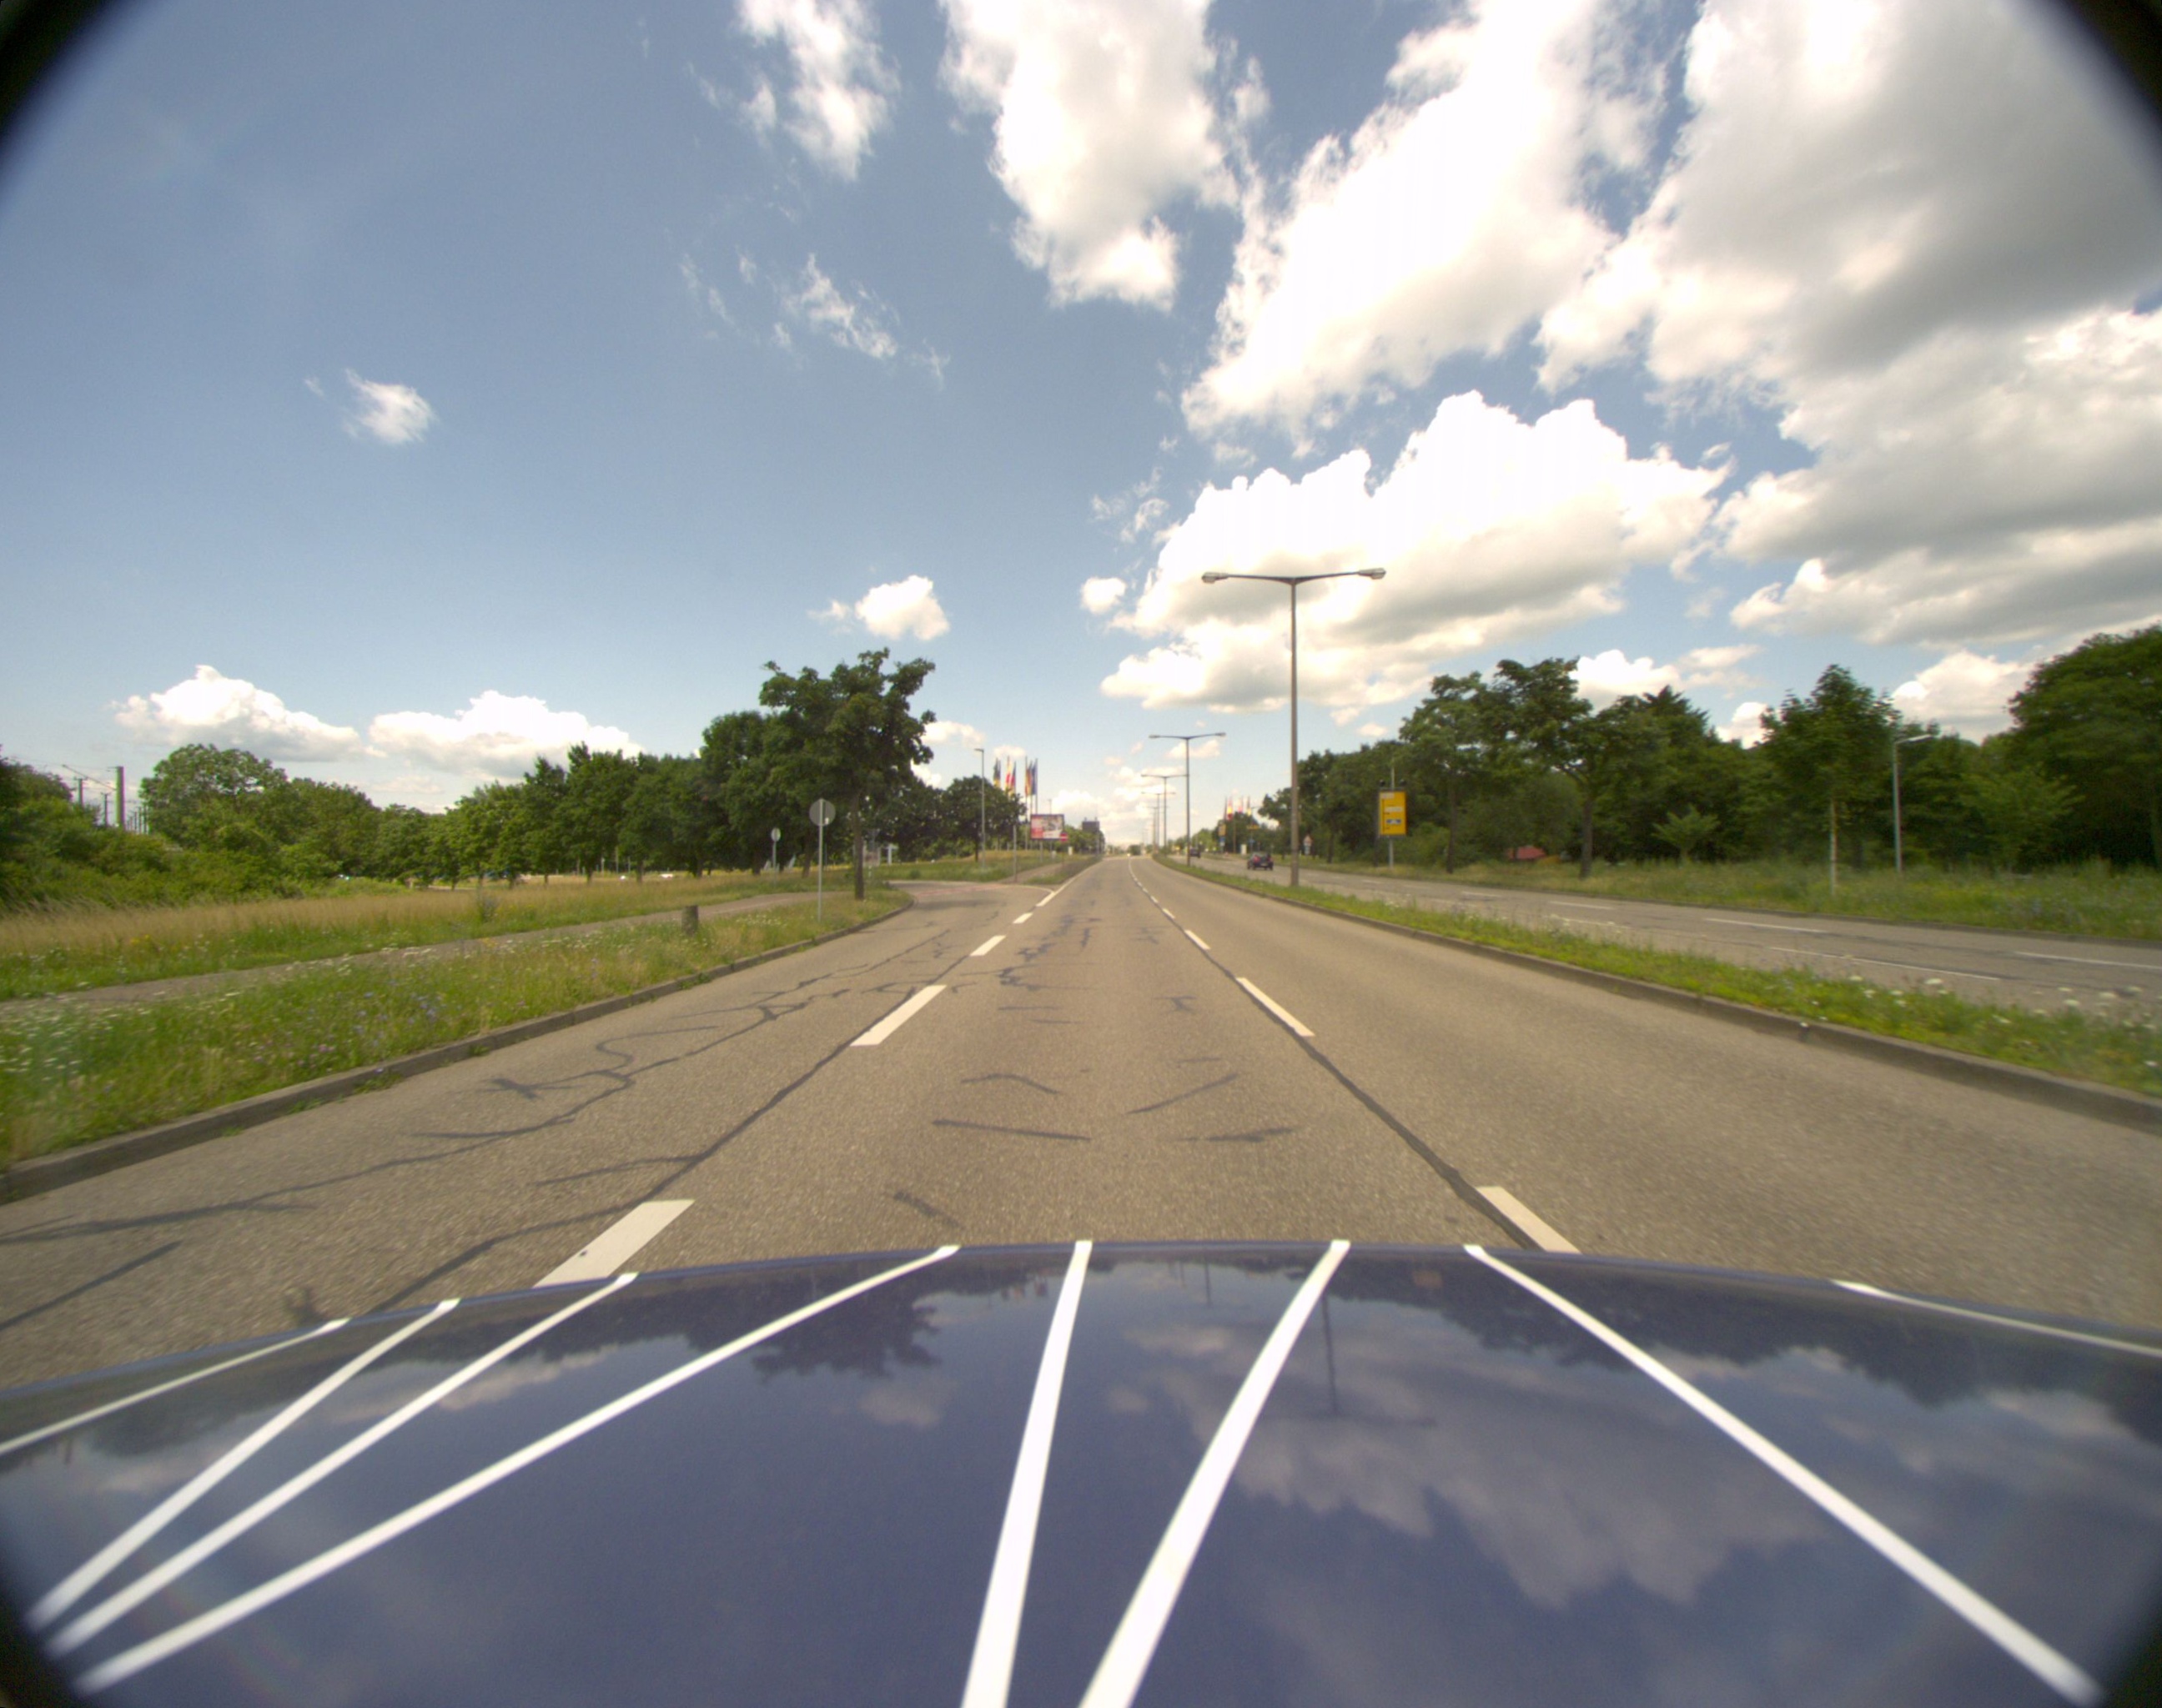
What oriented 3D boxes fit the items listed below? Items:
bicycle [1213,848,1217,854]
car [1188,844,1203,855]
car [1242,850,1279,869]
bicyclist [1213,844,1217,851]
[{"bbox_3d":[25.239,-0.520,143.186,0.433,1.062,1.908,-2,-1,1],"label":"bicycle"},{"bbox_3d":[19.344,-0.788,128.715,1.881,1.780,4.728,1,1,2],"label":"car"},{"bbox_3d":[14.575,0.431,61.852,1.706,1.419,3.672,-1,1,-8],"label":"car"},{"bbox_3d":[25.192,-1.142,143.272,0.522,1.265,1.107,-2,0,1],"label":"bicyclist"}]
